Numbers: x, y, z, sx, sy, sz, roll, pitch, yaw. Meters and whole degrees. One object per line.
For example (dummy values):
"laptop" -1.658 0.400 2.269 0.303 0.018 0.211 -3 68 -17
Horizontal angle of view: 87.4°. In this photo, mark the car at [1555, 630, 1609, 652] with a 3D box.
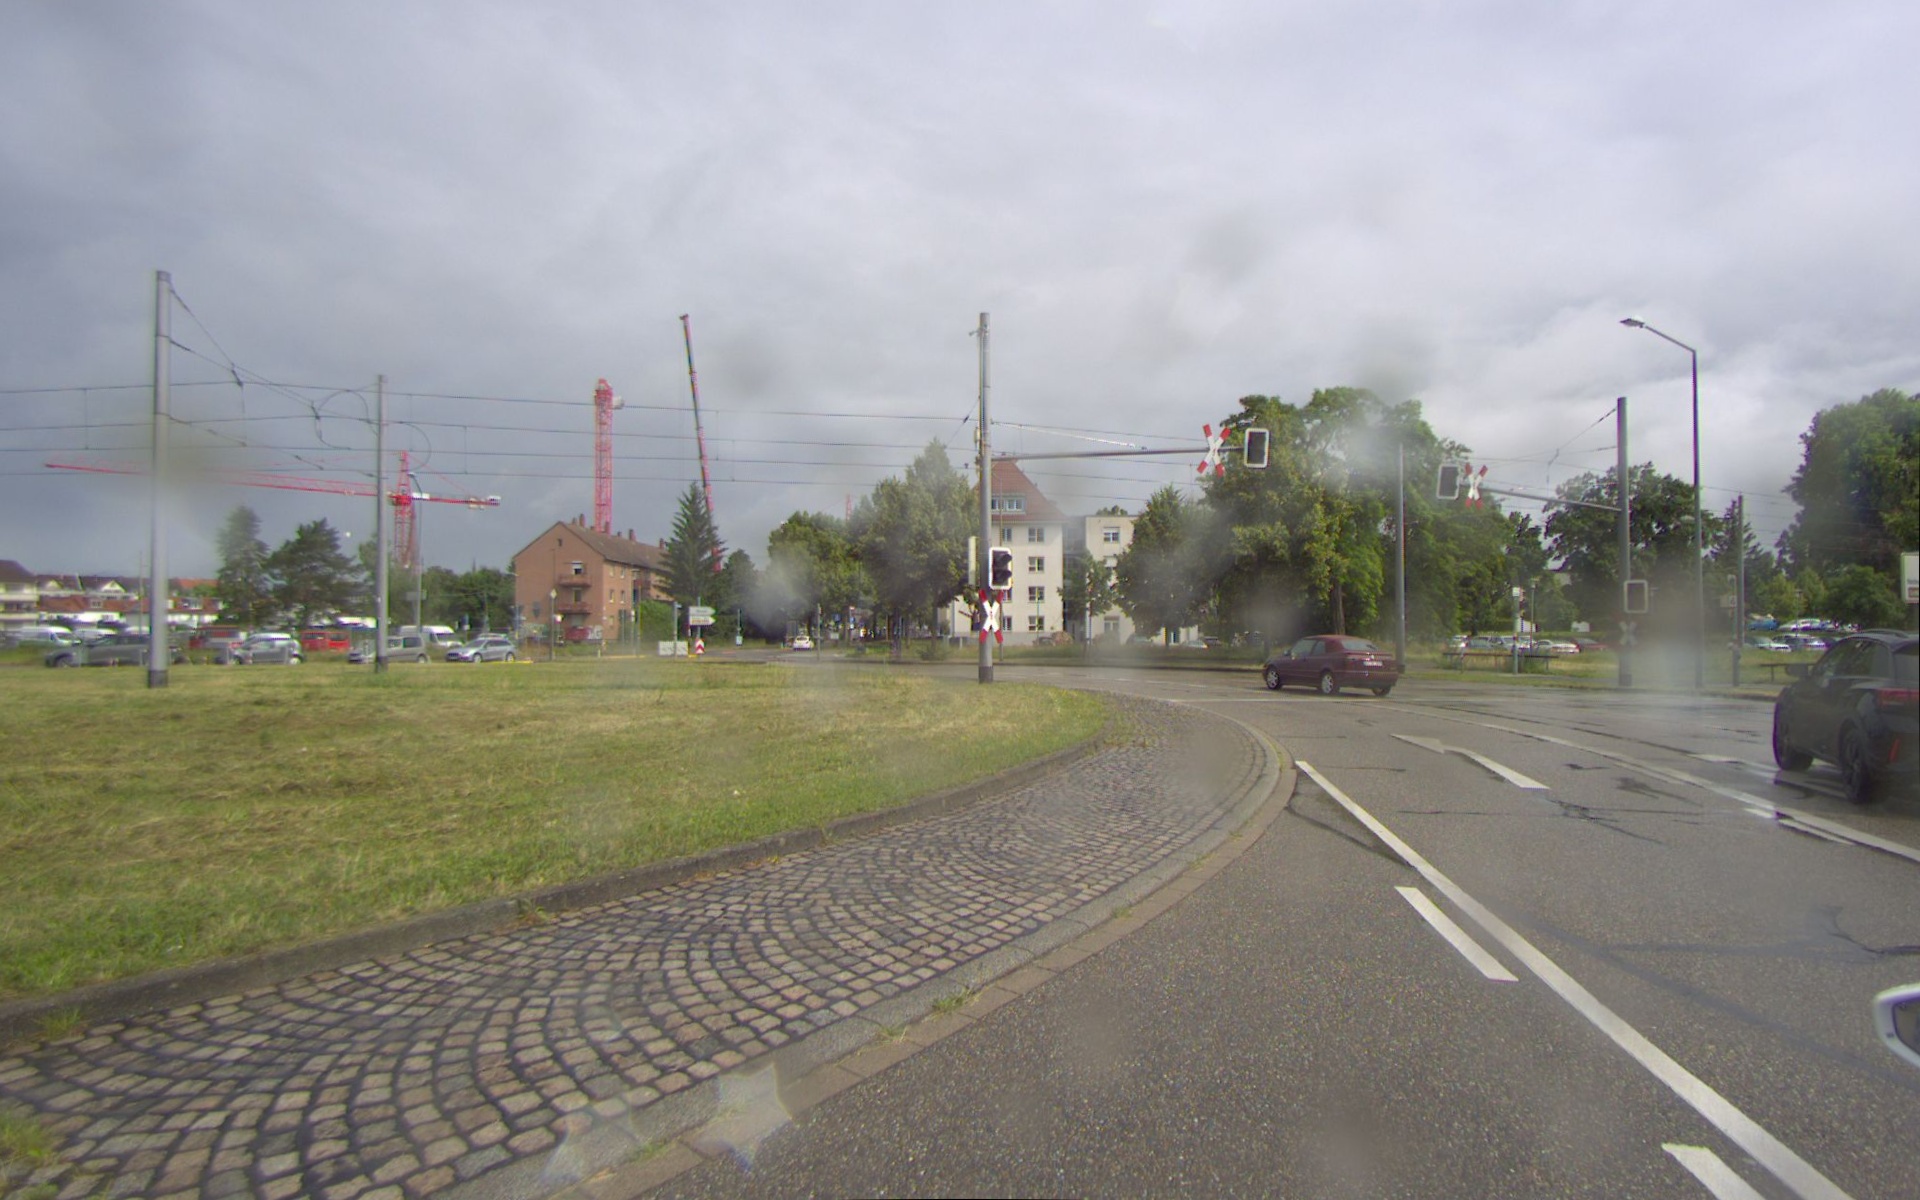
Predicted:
"car" 42.624 2.804 68.912 1.612 1.481 3.612 0 -2 3

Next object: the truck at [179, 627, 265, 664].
"truck" -50.772 3.115 69.057 5.990 2.241 2.394 1 -1 29

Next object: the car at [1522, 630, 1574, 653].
"car" 40.140 2.823 68.654 1.612 1.481 3.612 0 -2 3

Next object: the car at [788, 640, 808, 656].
"car" -16.337 4.827 101.314 1.525 1.473 3.488 0 -1 -17

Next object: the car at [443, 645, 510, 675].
"car" -27.539 3.388 57.354 1.568 1.581 3.552 0 -1 13

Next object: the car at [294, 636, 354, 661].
"car" -47.731 3.604 75.362 3.924 1.722 1.929 1 -1 24

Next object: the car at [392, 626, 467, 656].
"car" -42.519 3.260 80.536 6.148 2.112 2.041 1 -1 26

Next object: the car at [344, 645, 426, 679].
"car" -29.260 3.141 51.223 1.519 1.581 3.501 0 -2 18

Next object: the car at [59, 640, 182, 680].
"car" -34.955 2.470 41.938 3.627 1.581 1.564 1 -1 -25

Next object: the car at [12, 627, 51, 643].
"car" -95.538 3.573 103.301 3.431 1.581 1.550 -1 -1 20

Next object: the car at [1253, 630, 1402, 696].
"car" 9.220 1.528 25.530 1.690 1.482 3.991 -1 -1 -12

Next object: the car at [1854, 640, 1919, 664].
"car" 64.135 3.552 69.019 1.814 1.580 3.980 0 -2 0

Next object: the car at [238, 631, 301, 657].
"car" -51.220 3.233 74.490 3.921 1.722 1.858 2 -1 20

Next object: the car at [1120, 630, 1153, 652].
"car" 14.153 3.241 80.707 1.816 1.573 4.105 0 0 -1

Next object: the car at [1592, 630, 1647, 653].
"car" 45.103 2.855 68.791 1.617 1.530 3.652 0 -2 5

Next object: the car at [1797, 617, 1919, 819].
"car" 9.372 1.034 9.555 1.877 1.639 3.976 2 0 44

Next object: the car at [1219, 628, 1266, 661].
"car" 19.498 3.039 69.555 2.071 2.085 5.164 -1 -1 4

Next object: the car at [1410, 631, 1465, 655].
"car" 32.542 2.949 68.556 1.814 1.580 3.980 0 -2 0

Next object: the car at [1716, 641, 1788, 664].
"car" 54.526 3.592 69.222 1.763 1.548 4.001 0 -2 0

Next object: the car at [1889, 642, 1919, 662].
"car" 66.809 3.575 69.237 1.814 1.325 3.980 0 -2 0

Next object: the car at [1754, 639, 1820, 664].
"car" 56.847 3.542 69.143 1.520 1.682 3.630 0 -2 0

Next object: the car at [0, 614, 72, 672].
"car" -43.222 1.942 45.557 3.940 2.601 1.789 1 -1 -21

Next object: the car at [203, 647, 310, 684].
"car" -33.460 3.079 47.839 3.973 1.606 1.774 1 -2 -44
